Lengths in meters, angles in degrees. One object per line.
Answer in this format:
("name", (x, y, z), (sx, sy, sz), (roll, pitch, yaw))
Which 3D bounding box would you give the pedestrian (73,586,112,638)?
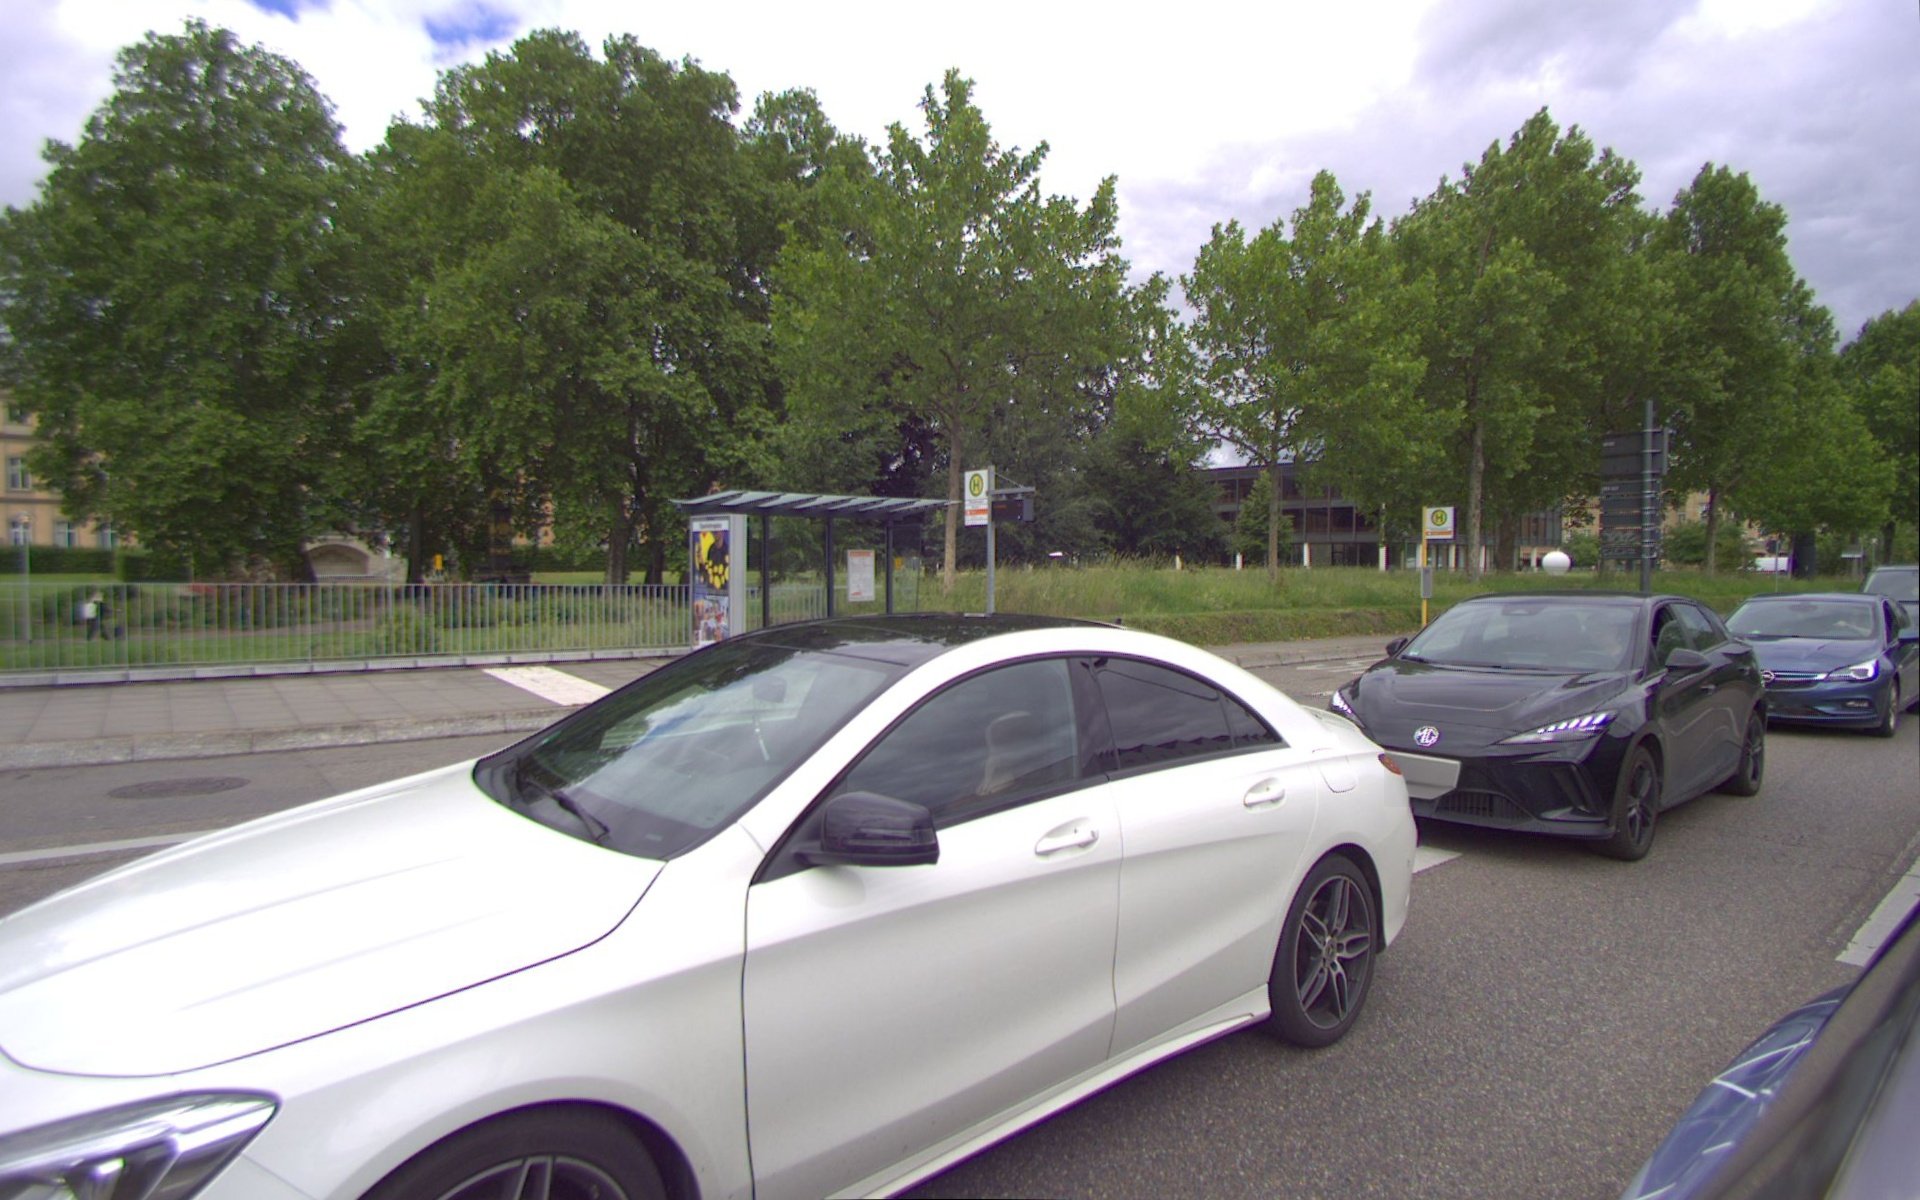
("pedestrian", (-27.810, 0.389, 32.447), (0.674, 1.621, 0.653), (-1, 0, 18))

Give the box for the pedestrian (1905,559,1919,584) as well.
("pedestrian", (79.805, -2.409, 84.648), (1.160, 2.039, 0.891), (-2, 0, -40))

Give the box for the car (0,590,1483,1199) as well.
("car", (-0.260, 0.730, 3.201), (4.446, 1.437, 1.799), (-1, 2, -39))

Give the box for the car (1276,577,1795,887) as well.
("car", (4.142, 0.611, 7.027), (4.020, 1.508, 1.852), (-1, 2, -40))

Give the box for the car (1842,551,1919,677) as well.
("car", (16.124, 0.162, 16.405), (4.719, 1.856, 2.020), (-1, 2, -40))

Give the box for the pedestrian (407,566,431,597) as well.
("pedestrian", (-35.545, -1.216, 66.528), (1.083, 2.039, 0.944), (-2, 0, -6))

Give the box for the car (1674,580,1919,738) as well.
("car", (9.784, 0.512, 11.479), (3.944, 1.452, 1.804), (-1, 2, -40))
